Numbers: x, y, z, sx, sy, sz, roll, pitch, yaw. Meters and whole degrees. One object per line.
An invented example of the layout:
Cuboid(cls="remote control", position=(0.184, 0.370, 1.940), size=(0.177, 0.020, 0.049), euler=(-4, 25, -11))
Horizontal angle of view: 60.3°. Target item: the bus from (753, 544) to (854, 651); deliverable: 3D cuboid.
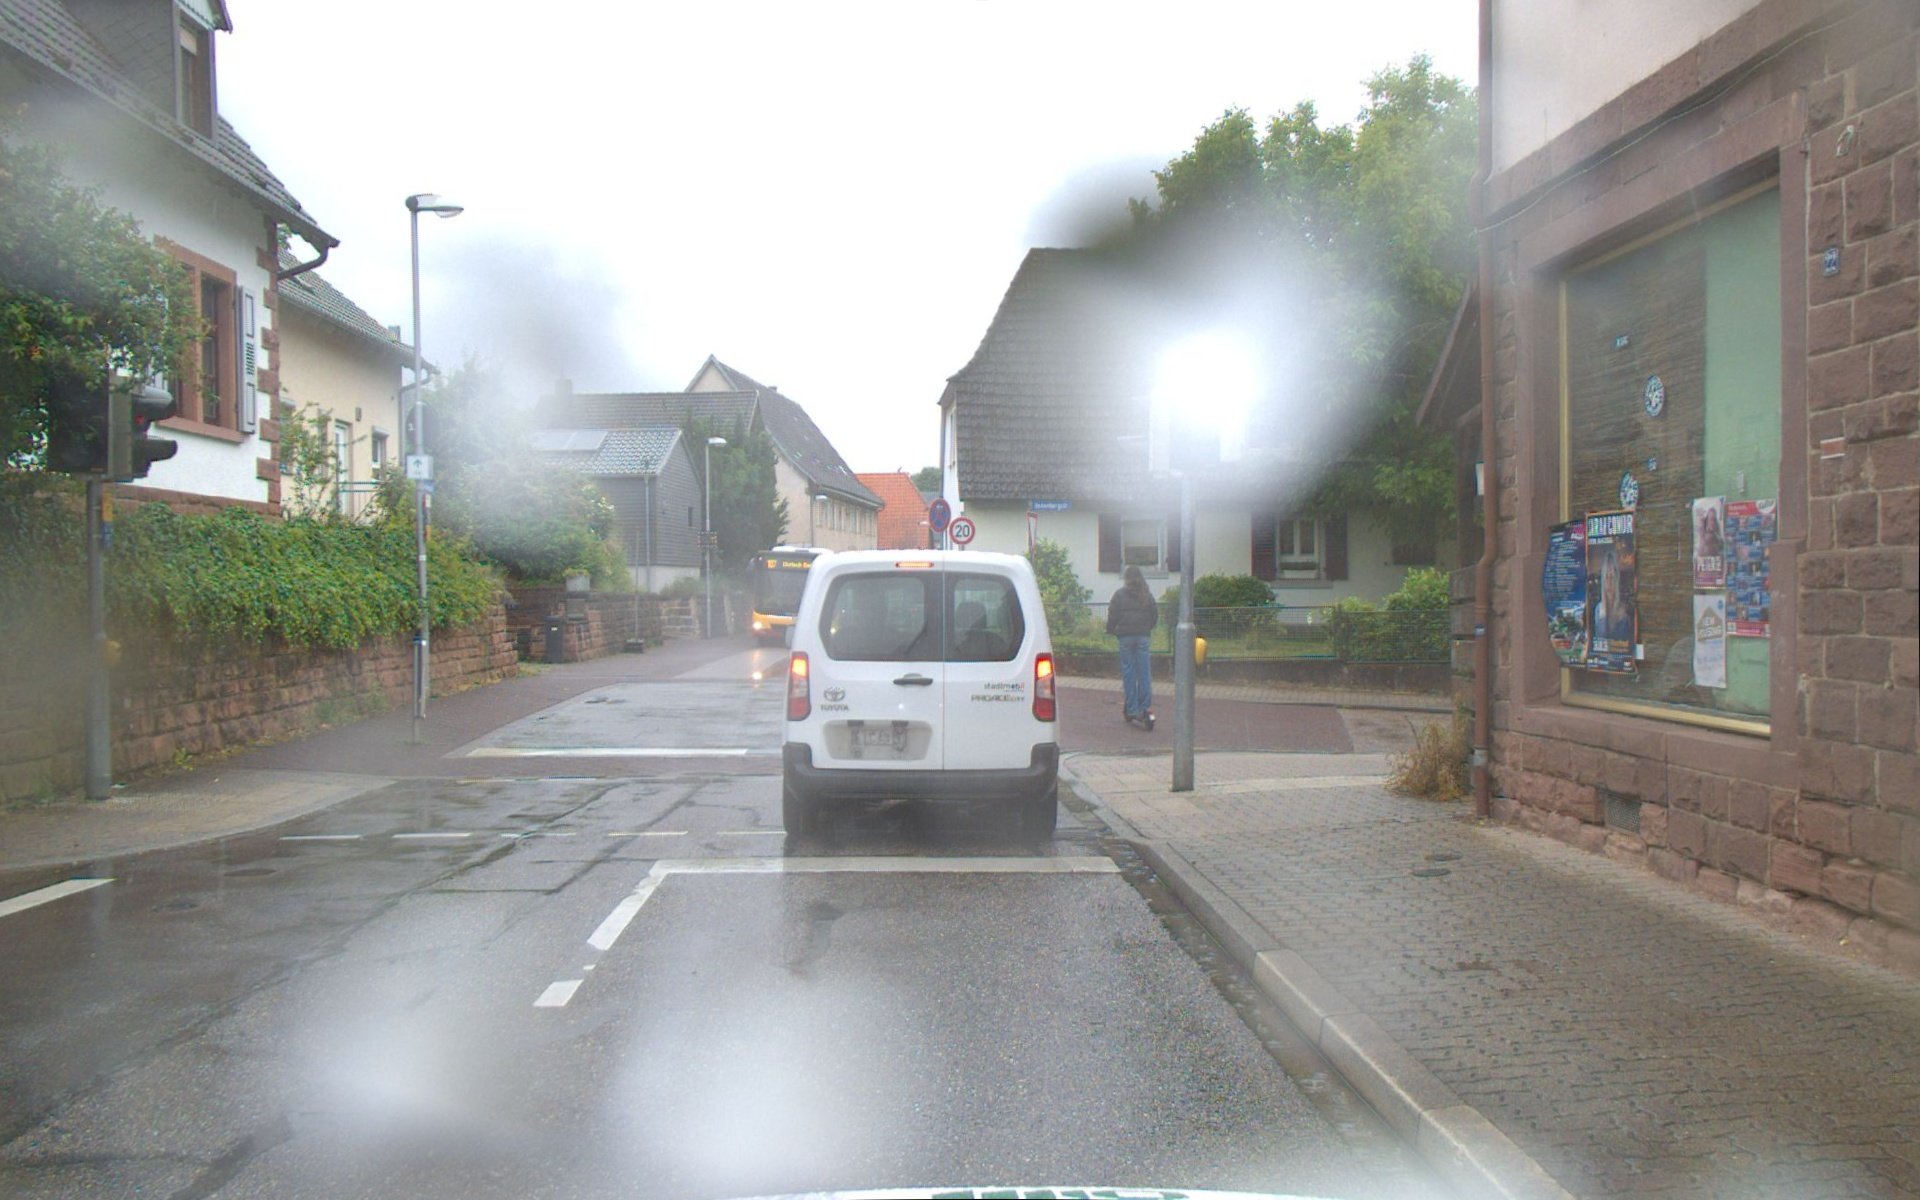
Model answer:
Cuboid(cls="bus", position=(-4.903, -0.250, 53.713), size=(2.596, 3.051, 12.188), euler=(0, 2, -2))

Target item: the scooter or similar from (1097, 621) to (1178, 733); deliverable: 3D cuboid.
Cuboid(cls="scooter or similar", position=(2.086, 0.882, 19.568), size=(0.609, 1.146, 1.400), euler=(0, 4, -9))

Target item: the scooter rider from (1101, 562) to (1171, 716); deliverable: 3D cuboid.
Cuboid(cls="scooter rider", position=(2.079, 0.456, 19.588), size=(0.717, 1.762, 0.517), euler=(-1, 5, -9))

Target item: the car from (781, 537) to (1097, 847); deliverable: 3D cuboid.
Cuboid(cls="car", position=(-0.209, 0.543, 11.748), size=(1.856, 1.825, 3.811), euler=(1, 0, -3))
